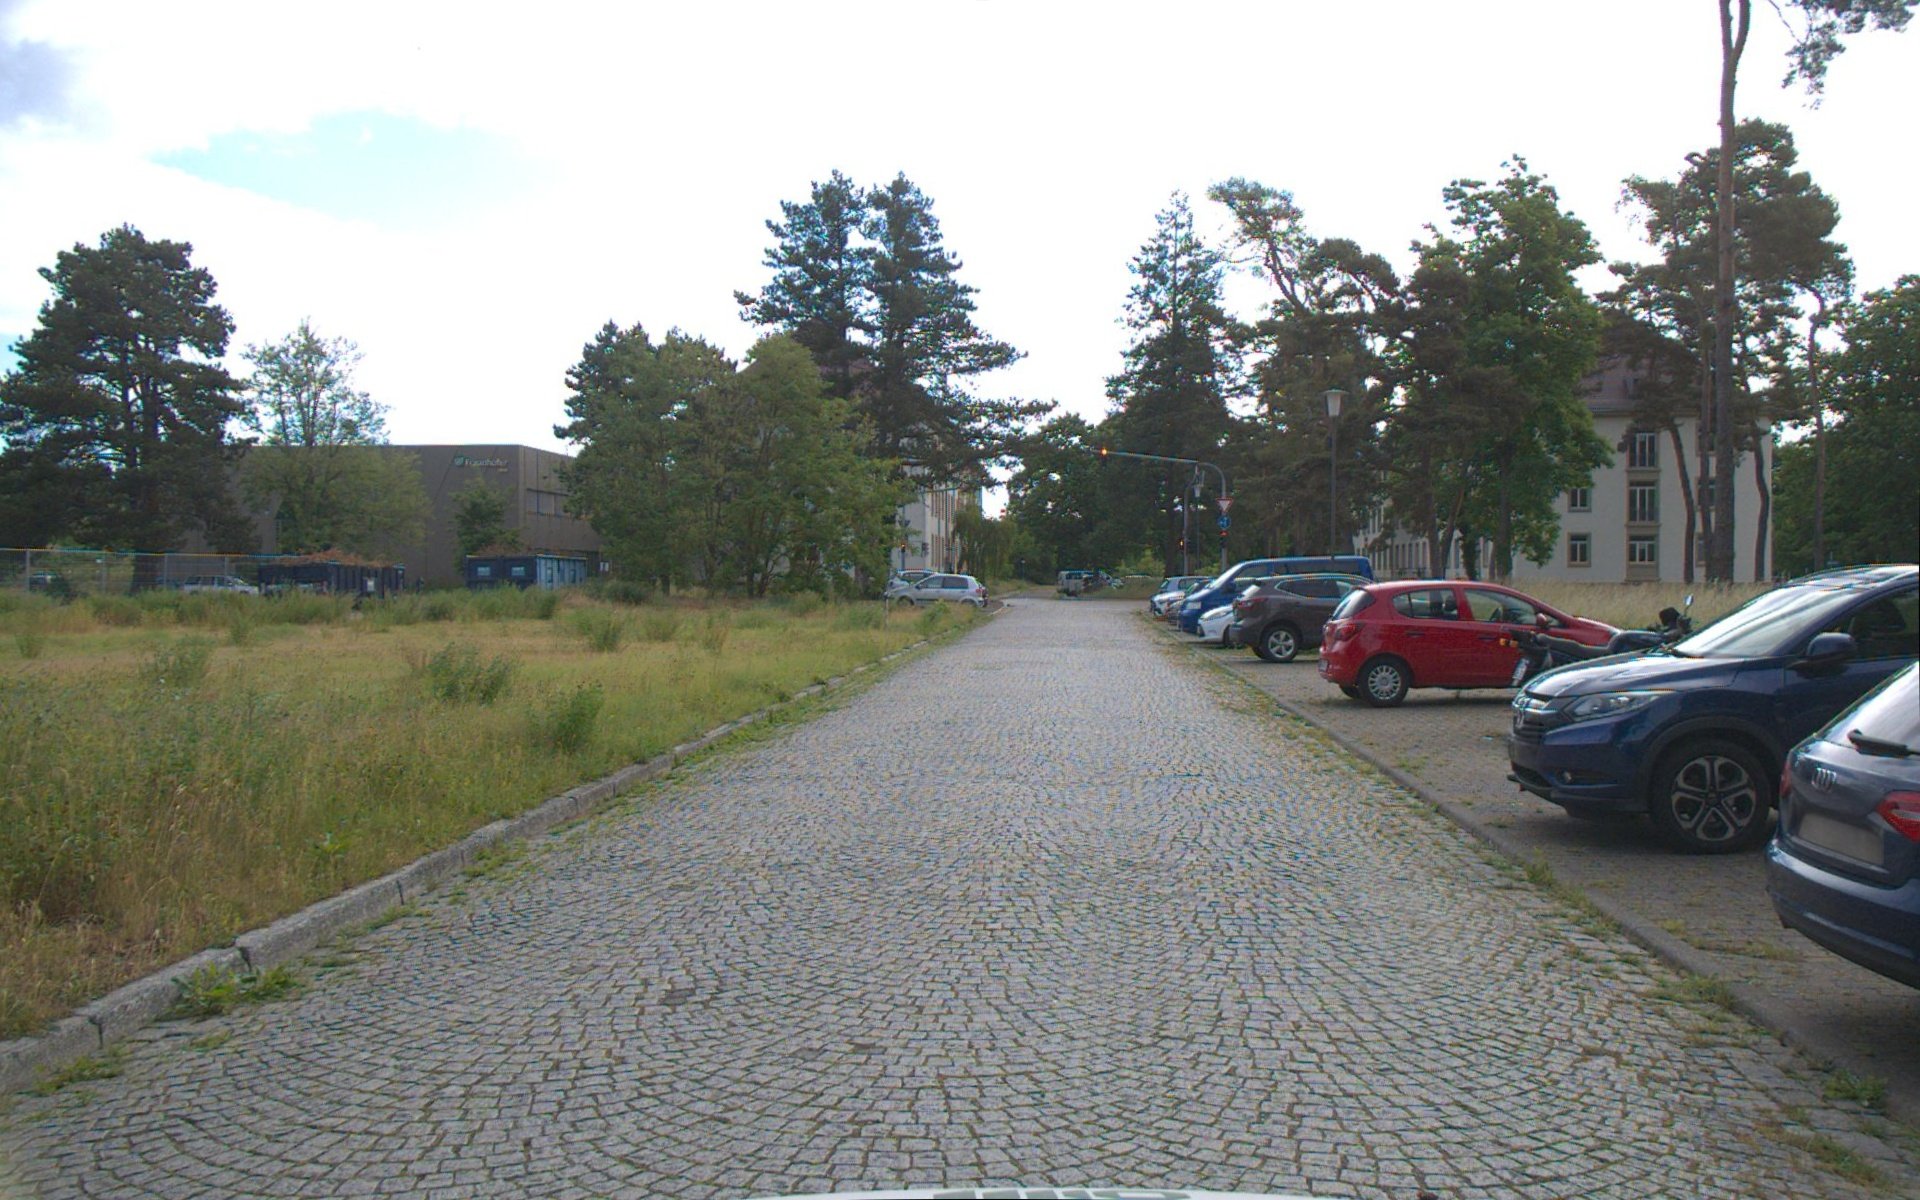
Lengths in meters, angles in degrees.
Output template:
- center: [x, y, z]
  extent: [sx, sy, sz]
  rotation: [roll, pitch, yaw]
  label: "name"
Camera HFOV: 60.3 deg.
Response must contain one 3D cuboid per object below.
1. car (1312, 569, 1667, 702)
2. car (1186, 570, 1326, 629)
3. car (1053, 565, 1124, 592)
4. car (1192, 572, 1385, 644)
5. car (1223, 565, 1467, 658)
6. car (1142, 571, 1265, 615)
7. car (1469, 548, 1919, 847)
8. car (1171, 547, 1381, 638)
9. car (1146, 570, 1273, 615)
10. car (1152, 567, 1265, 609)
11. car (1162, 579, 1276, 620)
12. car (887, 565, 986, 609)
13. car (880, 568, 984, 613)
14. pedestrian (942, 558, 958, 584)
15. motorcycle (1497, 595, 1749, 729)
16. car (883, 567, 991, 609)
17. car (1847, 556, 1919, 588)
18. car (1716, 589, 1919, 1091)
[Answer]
- center: [6.437, 0.410, 20.445]
  extent: [3.841, 1.522, 1.785]
  rotation: [-1, 1, 2]
  label: "car"
- center: [7.998, -0.025, 44.923]
  extent: [3.576, 1.504, 1.767]
  rotation: [-1, 1, 4]
  label: "car"
- center: [10.112, -1.723, 130.356]
  extent: [5.276, 2.138, 2.175]
  rotation: [0, 1, -8]
  label: "car"
- center: [7.314, 0.163, 37.095]
  extent: [4.013, 1.504, 1.722]
  rotation: [-1, 1, 1]
  label: "car"
- center: [7.082, 0.189, 30.735]
  extent: [4.116, 1.622, 1.954]
  rotation: [-1, 1, 2]
  label: "car"
- center: [8.931, -0.279, 60.773]
  extent: [4.148, 1.505, 1.707]
  rotation: [-1, 1, -7]
  label: "car"
- center: [5.487, 0.518, 10.176]
  extent: [4.156, 1.651, 1.887]
  rotation: [-1, 1, 2]
  label: "car"
- center: [7.508, -0.188, 39.629]
  extent: [4.696, 2.039, 1.967]
  rotation: [-1, 1, 2]
  label: "car"
- center: [8.724, -0.271, 58.012]
  extent: [4.102, 1.462, 1.754]
  rotation: [-1, 1, -3]
  label: "car"
- center: [9.498, -0.467, 63.293]
  extent: [4.051, 1.489, 1.633]
  rotation: [-1, 1, -1]
  label: "car"
- center: [8.316, -0.036, 53.324]
  extent: [3.511, 1.244, 1.630]
  rotation: [-1, 1, 5]
  label: "car"
- center: [-0.881, -0.516, 63.060]
  extent: [3.644, 1.506, 1.673]
  rotation: [2, 1, 1]
  label: "car"
- center: [-1.162, -0.410, 68.499]
  extent: [4.211, 1.762, 1.652]
  rotation: [-1, 1, -1]
  label: "car"
- center: [-0.776, -2.266, 128.781]
  extent: [1.052, 1.993, 1.122]
  rotation: [1, 1, 4]
  label: "pedestrian"
- center: [6.368, 0.589, 15.945]
  extent: [2.184, 1.223, 0.568]
  rotation: [-1, 1, 2]
  label: "motorcycle"
- center: [-0.932, -0.493, 65.668]
  extent: [4.211, 1.581, 1.811]
  rotation: [-1, 1, -2]
  label: "car"
- center: [63.737, -1.864, 112.842]
  extent: [5.189, 2.054, 2.107]
  rotation: [2, 1, 5]
  label: "car"
- center: [5.054, 0.690, 5.452]
  extent: [4.264, 1.464, 1.928]
  rotation: [-1, 1, 6]
  label: "car"
